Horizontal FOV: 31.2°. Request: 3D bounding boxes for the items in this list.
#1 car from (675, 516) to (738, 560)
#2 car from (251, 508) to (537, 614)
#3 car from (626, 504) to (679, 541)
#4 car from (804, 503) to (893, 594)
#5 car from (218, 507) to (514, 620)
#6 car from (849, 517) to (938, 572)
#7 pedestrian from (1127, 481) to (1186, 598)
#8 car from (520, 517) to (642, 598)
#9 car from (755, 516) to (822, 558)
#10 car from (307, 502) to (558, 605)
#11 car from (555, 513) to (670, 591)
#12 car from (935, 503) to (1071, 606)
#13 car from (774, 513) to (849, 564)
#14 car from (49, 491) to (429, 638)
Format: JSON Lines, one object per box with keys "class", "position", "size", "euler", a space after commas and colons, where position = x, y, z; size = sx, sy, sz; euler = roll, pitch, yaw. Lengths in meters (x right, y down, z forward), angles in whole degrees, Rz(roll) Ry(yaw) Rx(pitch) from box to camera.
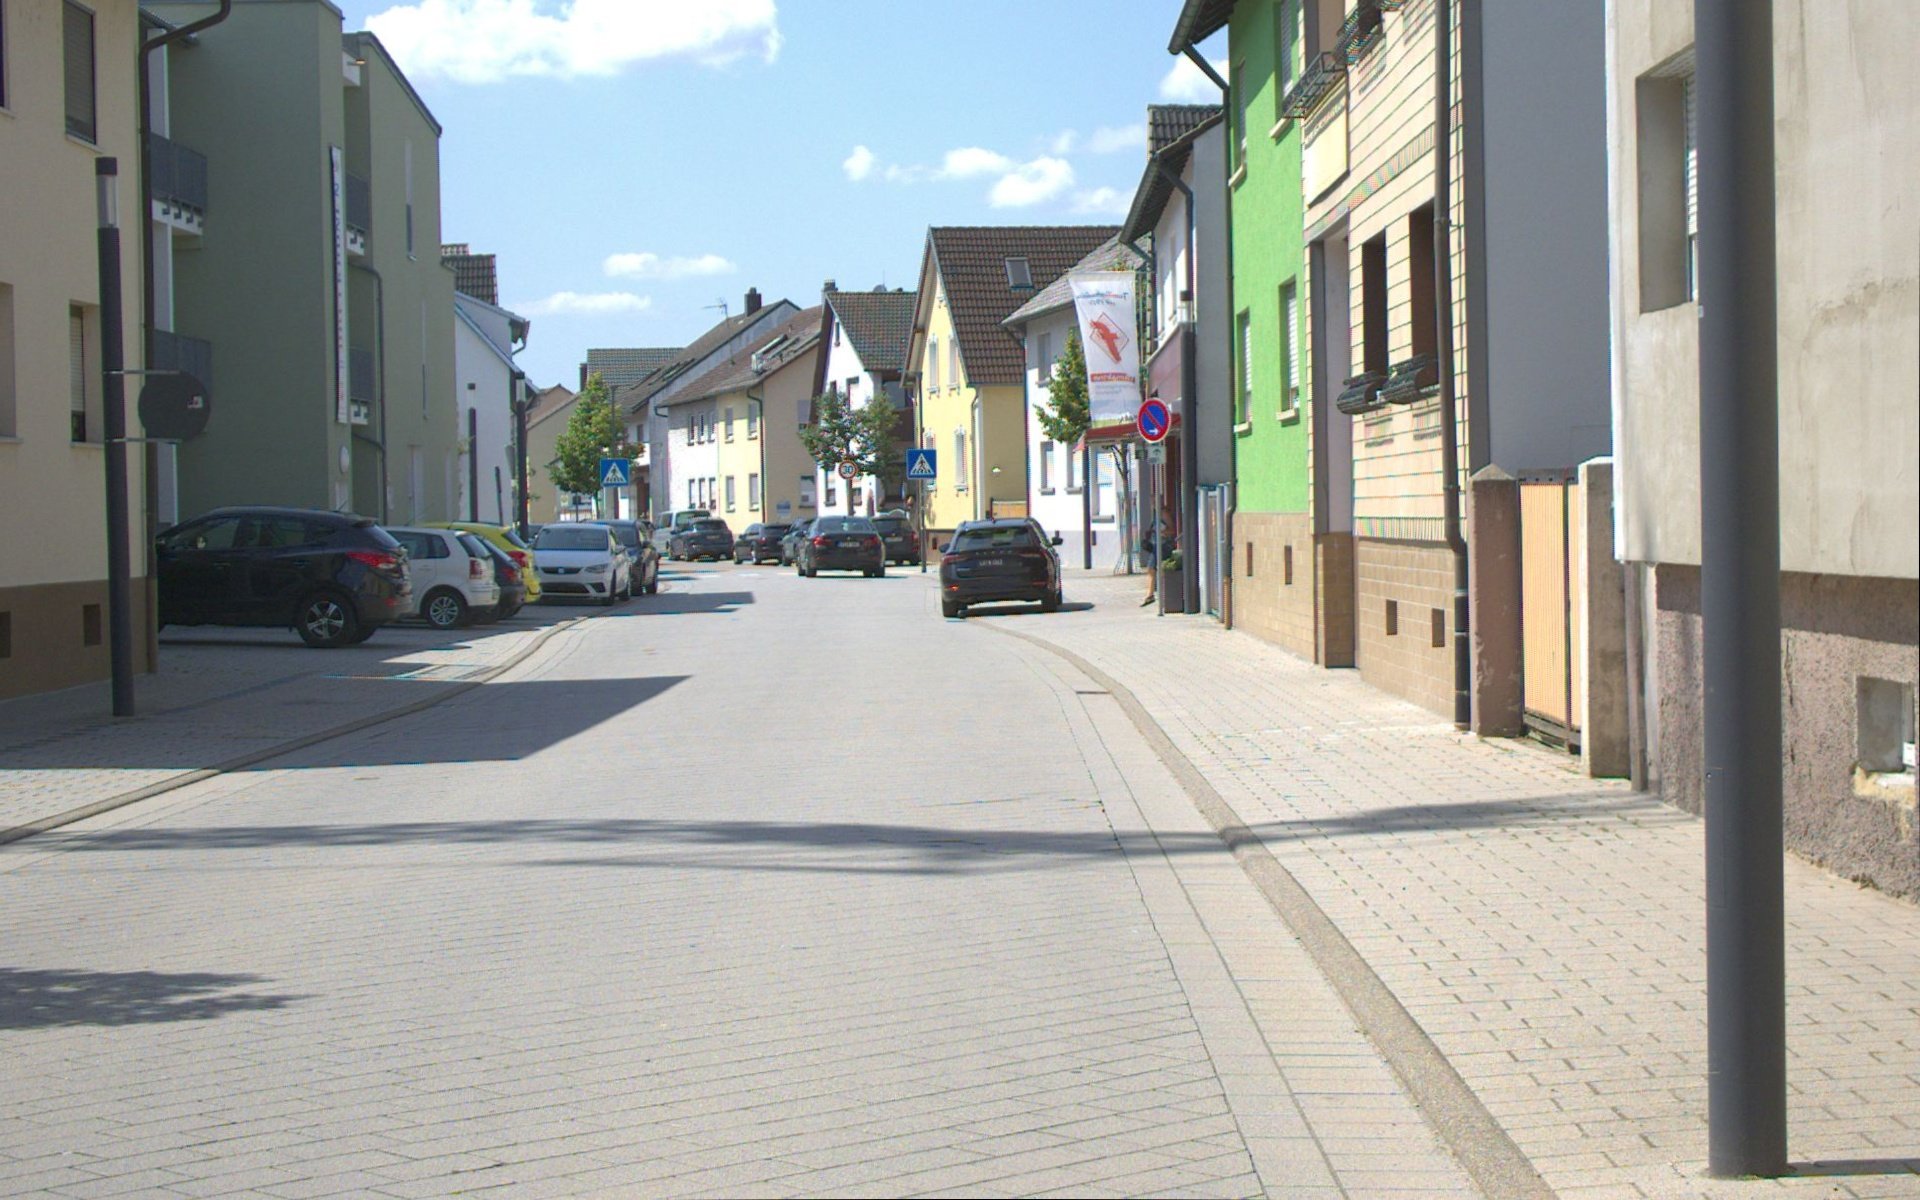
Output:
{"class": "car", "position": [-9.683, -2.380, 131.307], "size": [1.877, 1.585, 4.001], "euler": [-2, 2, -11]}
{"class": "car", "position": [-8.495, -0.601, 51.777], "size": [3.987, 1.436, 1.691], "euler": [2, 1, 1]}
{"class": "car", "position": [-13.054, -3.295, 145.865], "size": [1.754, 1.487, 4.001], "euler": [-2, 2, -11]}
{"class": "car", "position": [-2.661, -1.252, 81.752], "size": [1.993, 2.050, 4.374], "euler": [-1, 2, -2]}
{"class": "car", "position": [-8.550, -0.541, 49.646], "size": [3.901, 1.497, 1.751], "euler": [2, 2, 2]}
{"class": "car", "position": [-1.980, -1.625, 101.032], "size": [1.828, 1.466, 4.277], "euler": [-3, 1, -11]}
{"class": "pedestrian", "position": [2.842, -0.875, 49.605], "size": [0.729, 1.634, 0.749], "euler": [-4, 1, 4]}
{"class": "car", "position": [-6.911, -0.805, 63.015], "size": [1.758, 1.406, 3.878], "euler": [1, 2, 1]}
{"class": "car", "position": [-5.905, -2.163, 117.955], "size": [1.710, 1.382, 3.707], "euler": [-2, 2, -11]}
{"class": "car", "position": [-8.401, -0.755, 54.914], "size": [3.692, 1.520, 1.672], "euler": [1, 2, 1]}
{"class": "car", "position": [-6.933, -0.981, 68.968], "size": [1.813, 1.485, 4.277], "euler": [1, 2, 1]}
{"class": "car", "position": [0.717, -0.743, 53.845], "size": [1.858, 1.454, 4.586], "euler": [-3, 1, 3]}
{"class": "car", "position": [-4.789, -1.980, 110.420], "size": [1.846, 1.557, 3.695], "euler": [-2, 2, -11]}
{"class": "car", "position": [-8.710, -0.445, 41.780], "size": [4.219, 1.652, 1.784], "euler": [1, 1, 0]}
